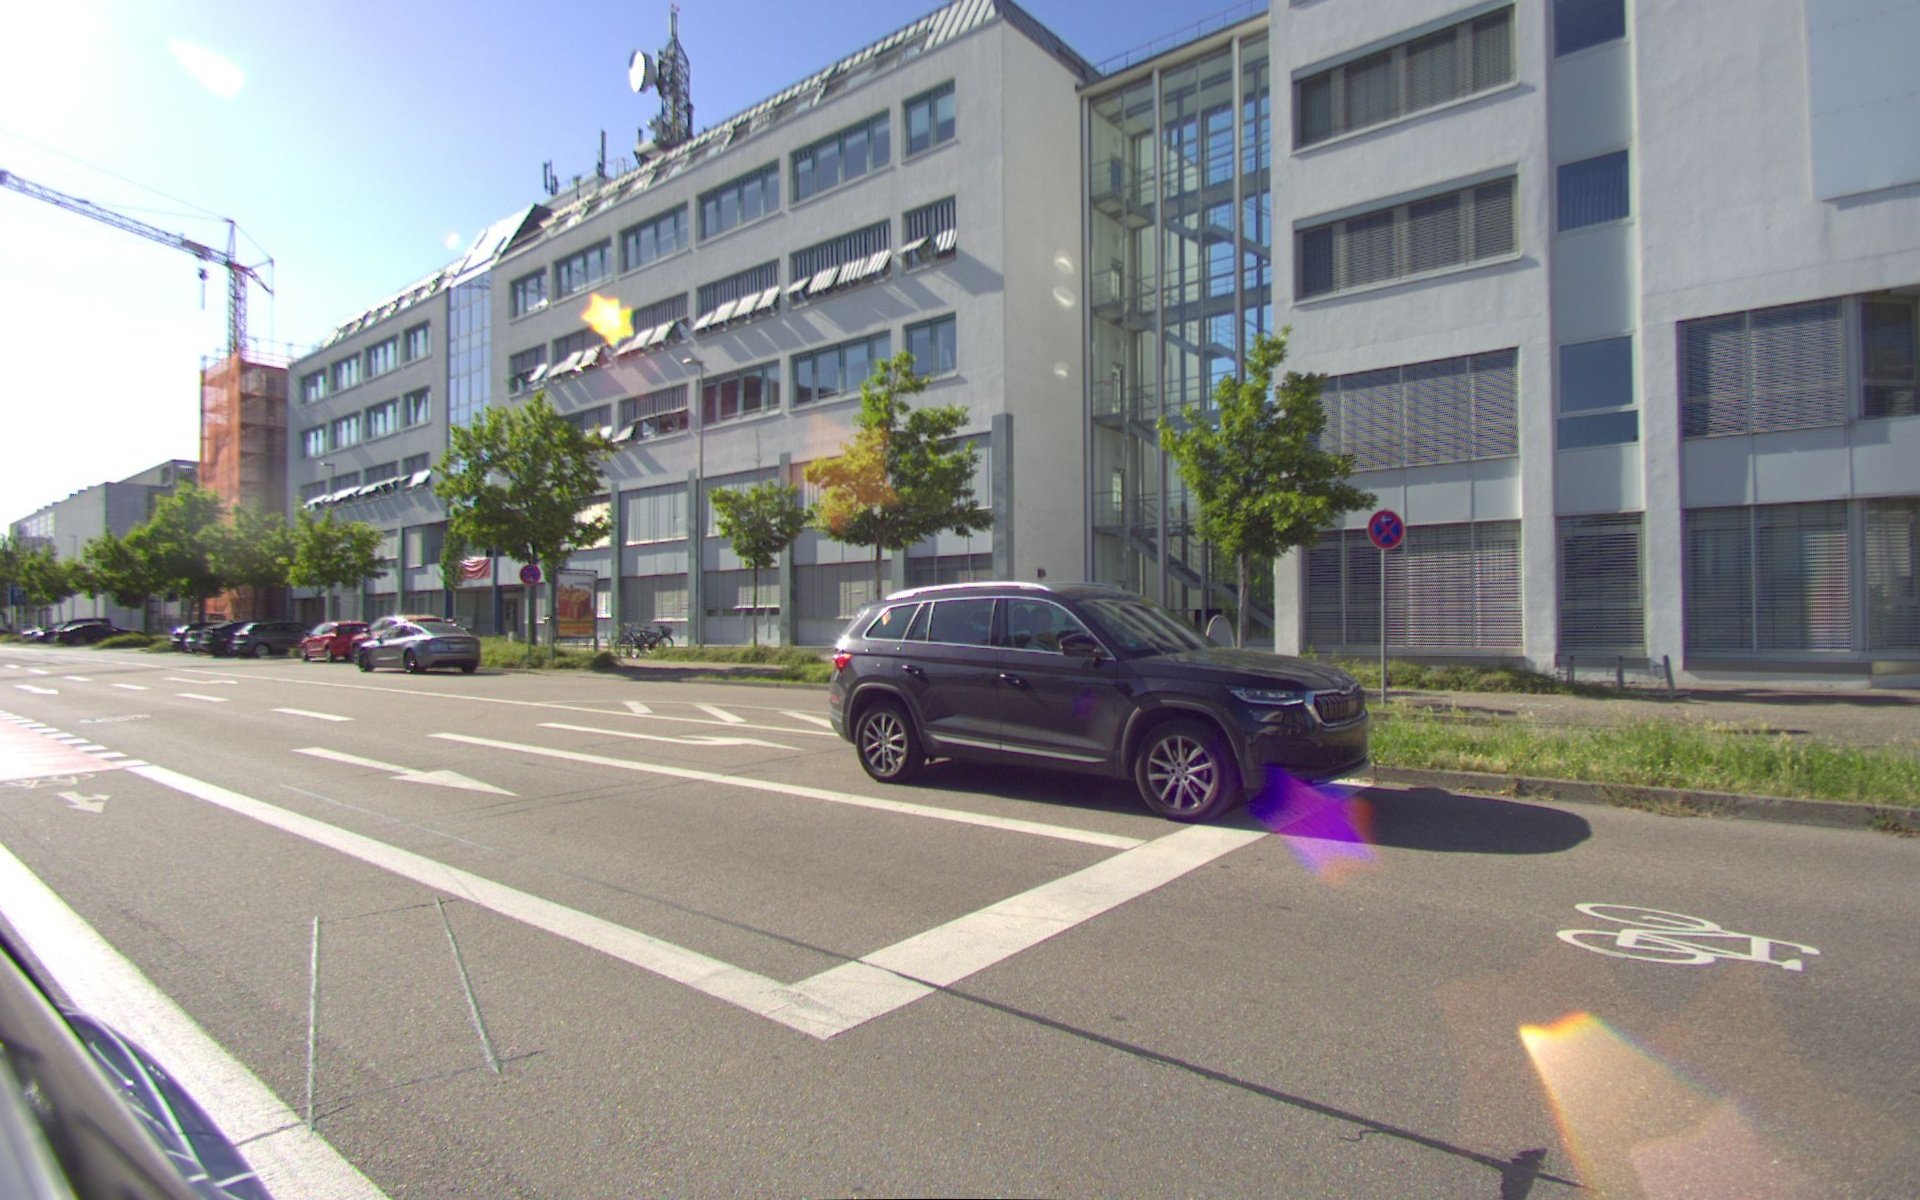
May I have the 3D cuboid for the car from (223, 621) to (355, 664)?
[{"bbox_3d":[-28.424,1.786,42.989,1.690,1.549,4.348,-2,0,35],"label":"car"}]

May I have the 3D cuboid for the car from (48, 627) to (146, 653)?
[{"bbox_3d":[-54.534,2.503,64.007,1.973,1.442,4.347,-2,0,36],"label":"car"}]

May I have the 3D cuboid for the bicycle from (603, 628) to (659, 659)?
[{"bbox_3d":[-11.415,1.506,35.145,1.746,1.077,0.556,2,-3,-43],"label":"bicycle"}]

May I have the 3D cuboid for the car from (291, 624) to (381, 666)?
[{"bbox_3d":[-23.187,1.640,37.558,3.868,1.442,1.671,-2,0,40],"label":"car"}]

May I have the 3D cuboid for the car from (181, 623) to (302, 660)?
[{"bbox_3d":[-33.786,1.925,47.688,1.689,1.442,4.349,-2,0,34],"label":"car"}]

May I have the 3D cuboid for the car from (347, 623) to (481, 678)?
[{"bbox_3d":[-15.833,1.430,29.268,4.539,1.479,1.672,-2,-3,37],"label":"car"}]

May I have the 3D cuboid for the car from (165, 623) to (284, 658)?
[{"bbox_3d":[-35.621,1.947,49.143,1.689,1.442,4.350,-2,0,34],"label":"car"}]

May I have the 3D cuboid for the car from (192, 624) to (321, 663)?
[{"bbox_3d":[-30.980,1.896,44.674,1.690,1.442,4.346,-2,0,37],"label":"car"}]

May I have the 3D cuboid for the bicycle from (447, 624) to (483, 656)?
[{"bbox_3d":[-21.334,1.724,43.598,0.701,1.357,2.233,3,-3,-45],"label":"bicycle"}]

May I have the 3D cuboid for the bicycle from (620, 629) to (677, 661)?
[{"bbox_3d":[-10.710,1.535,34.785,1.767,1.077,0.622,2,-3,-43],"label":"bicycle"}]

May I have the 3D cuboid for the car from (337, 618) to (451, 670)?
[{"bbox_3d":[-19.306,1.467,34.490,4.300,1.619,1.674,-2,0,35],"label":"car"}]

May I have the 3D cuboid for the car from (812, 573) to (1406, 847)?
[{"bbox_3d":[0.984,0.687,8.169,4.473,1.640,1.736,-2,0,39],"label":"car"}]
